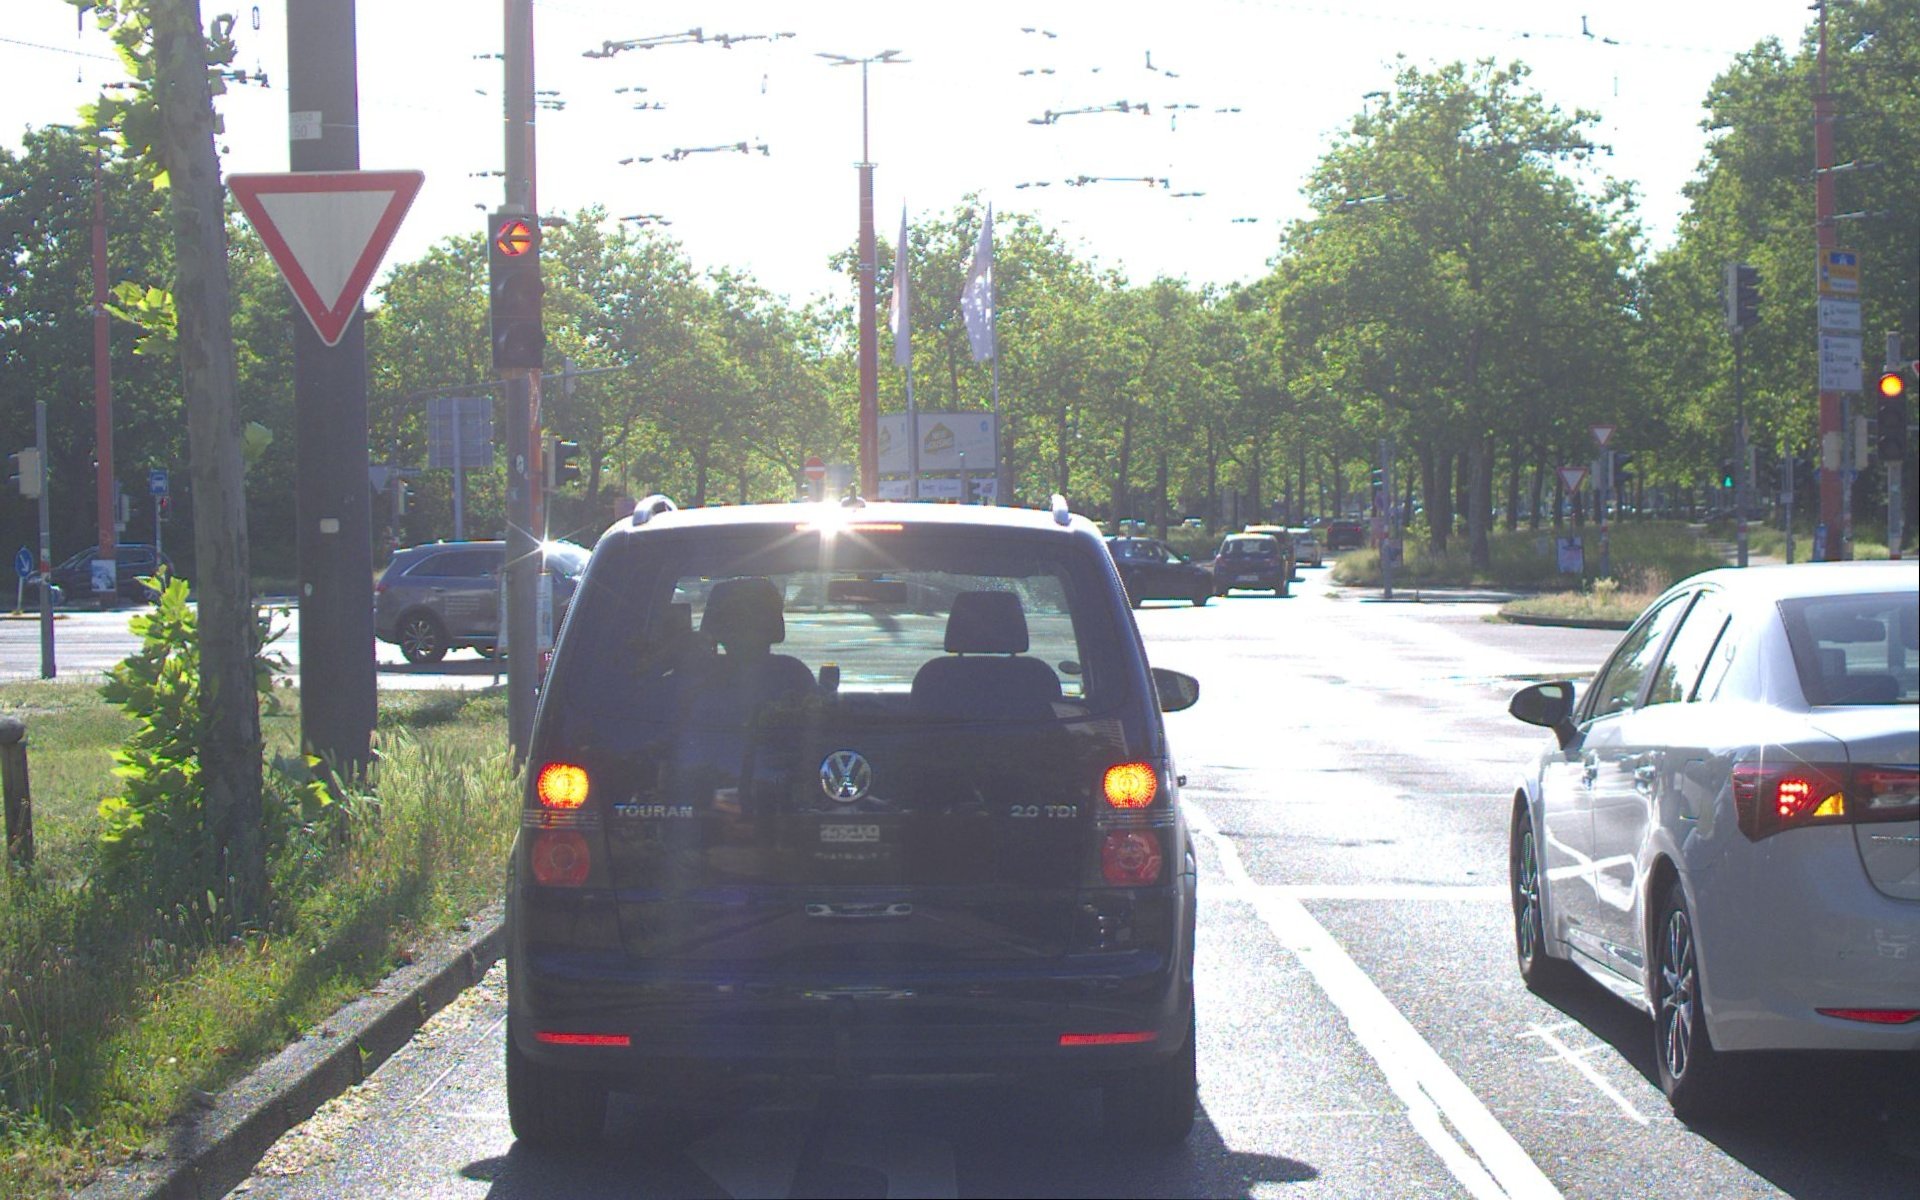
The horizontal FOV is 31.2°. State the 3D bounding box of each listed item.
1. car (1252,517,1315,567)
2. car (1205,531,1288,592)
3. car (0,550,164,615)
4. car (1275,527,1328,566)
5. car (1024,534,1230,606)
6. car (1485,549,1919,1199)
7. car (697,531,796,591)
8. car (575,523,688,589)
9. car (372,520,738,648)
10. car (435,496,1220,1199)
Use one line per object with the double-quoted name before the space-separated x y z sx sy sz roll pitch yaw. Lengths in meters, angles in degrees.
"car" 10.240 -1.850 109.019 1.790 1.497 4.049 0 2 3
"car" 6.935 -0.950 83.445 1.790 1.383 4.050 0 2 2
"car" -24.903 -0.500 96.496 4.637 1.720 1.909 -1 1 -27
"car" 12.571 -1.995 126.761 1.790 1.383 4.049 0 2 4
"car" 3.392 -0.624 69.461 4.038 1.383 1.795 -1 2 -41
"car" 2.727 0.604 10.107 1.767 1.459 4.366 0 1 1
"car" -5.649 -1.056 91.380 1.768 1.533 4.090 0 1 9
"car" -8.953 -1.227 94.025 1.903 1.720 4.652 0 1 10
"car" -5.615 -0.225 47.648 4.684 1.698 1.997 0 1 25
"car" -0.307 0.531 10.253 1.767 1.638 4.924 0 1 0
